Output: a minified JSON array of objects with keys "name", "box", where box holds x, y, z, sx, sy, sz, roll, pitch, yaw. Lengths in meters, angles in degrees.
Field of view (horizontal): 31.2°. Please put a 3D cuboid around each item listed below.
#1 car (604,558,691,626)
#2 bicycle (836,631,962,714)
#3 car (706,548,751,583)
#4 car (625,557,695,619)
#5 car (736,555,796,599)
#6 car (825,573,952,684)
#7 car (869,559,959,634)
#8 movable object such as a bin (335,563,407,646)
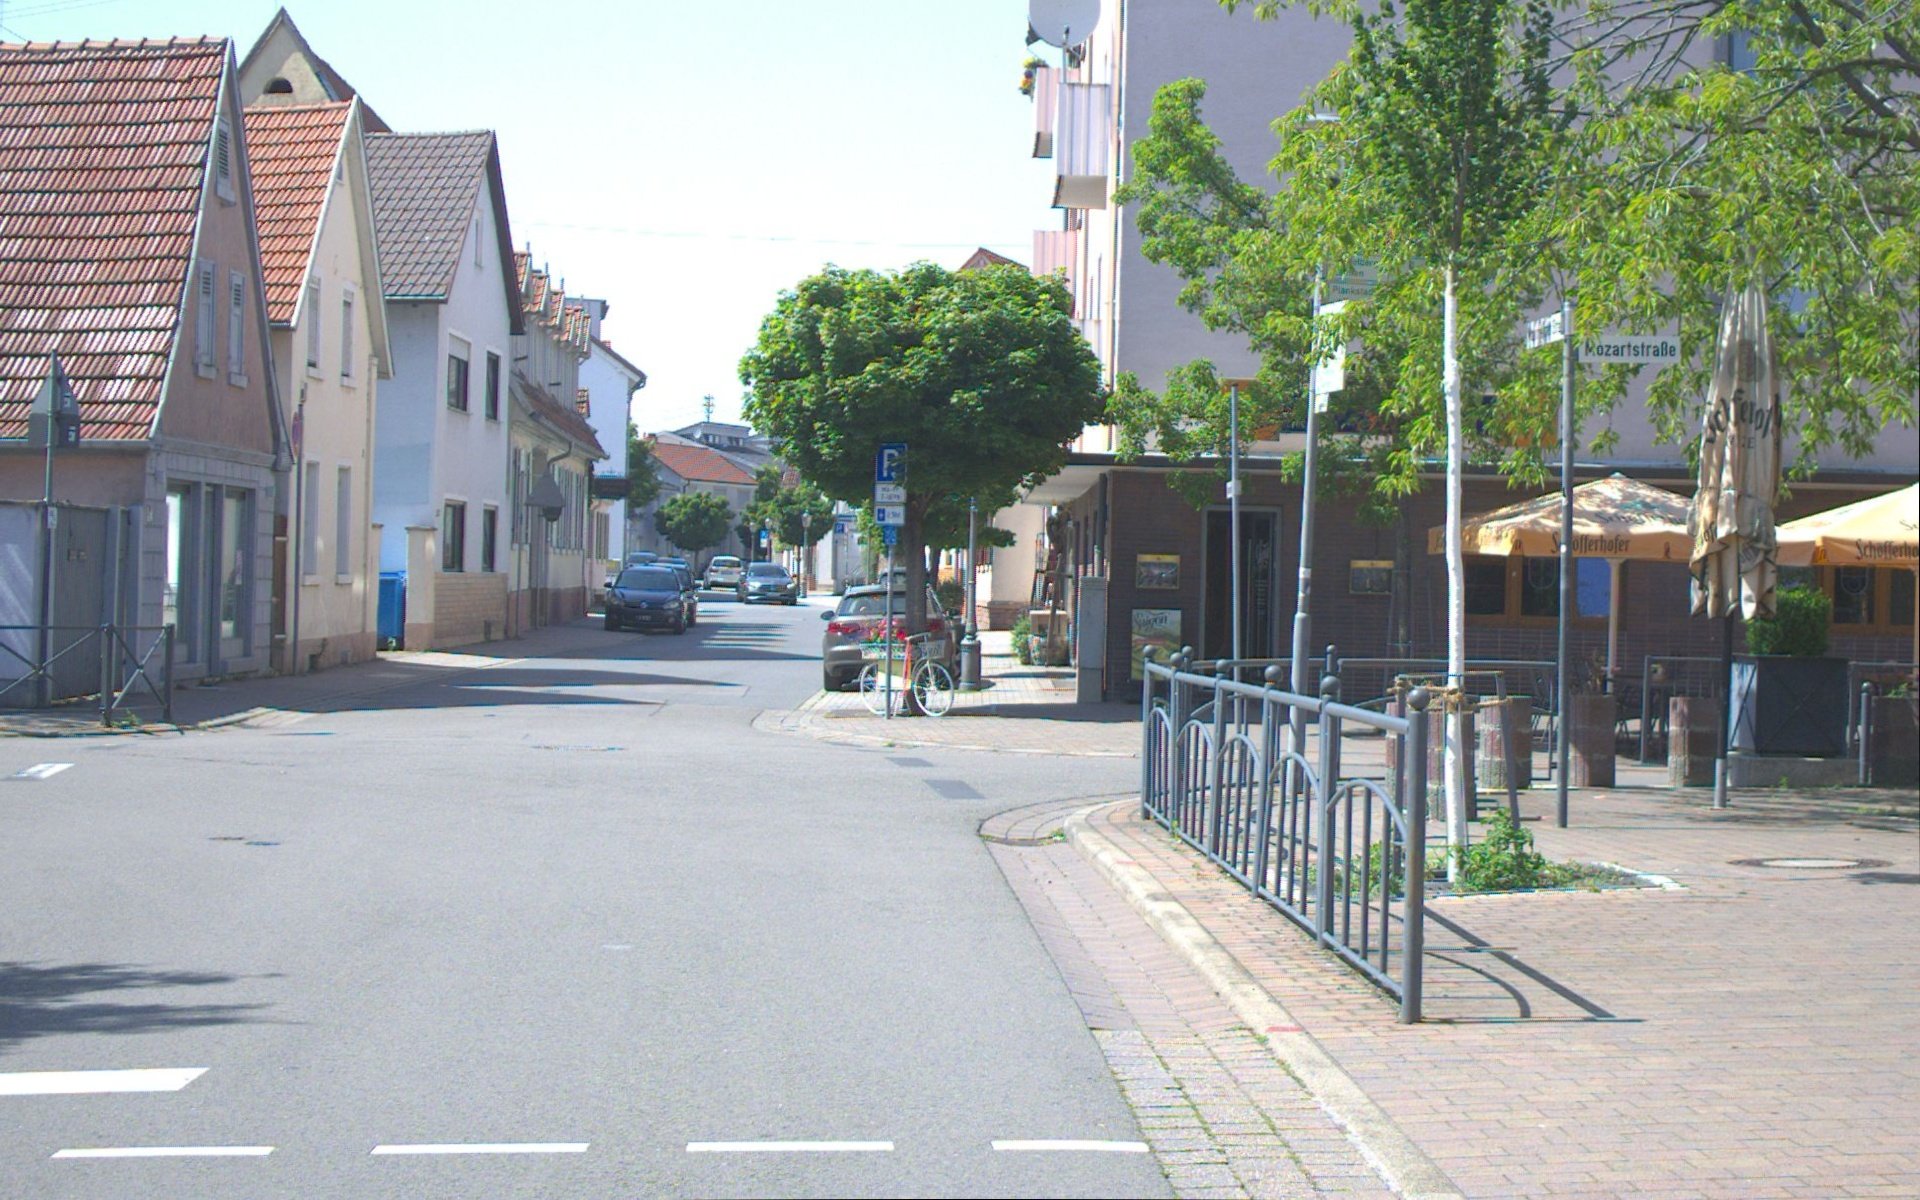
[{"name":"car","box":[-7.077,-0.202,78.206,1.663,1.471,4.135,1,1,-1]},{"name":"bicycle","box":[-0.688,0.806,38.585,1.412,0.894,0.464,0,1,36]},{"name":"car","box":[-10.902,-1.614,161.759,2.027,1.592,4.509,1,1,-4]},{"name":"car","box":[-7.383,-0.303,84.759,1.663,1.471,3.451,1,1,-4]},{"name":"car","box":[-6.980,-0.810,123.359,1.909,1.476,4.845,1,0,-6]},{"name":"car","box":[-0.955,0.364,47.205,1.576,1.449,3.486,1,0,1]},{"name":"car","box":[-1.079,-0.106,81.073,2.043,1.683,4.842,1,1,-1]},{"name":"movable object such as a bin","box":[-9.725,0.074,56.786,1.102,1.361,0.390,1,0,3]}]
